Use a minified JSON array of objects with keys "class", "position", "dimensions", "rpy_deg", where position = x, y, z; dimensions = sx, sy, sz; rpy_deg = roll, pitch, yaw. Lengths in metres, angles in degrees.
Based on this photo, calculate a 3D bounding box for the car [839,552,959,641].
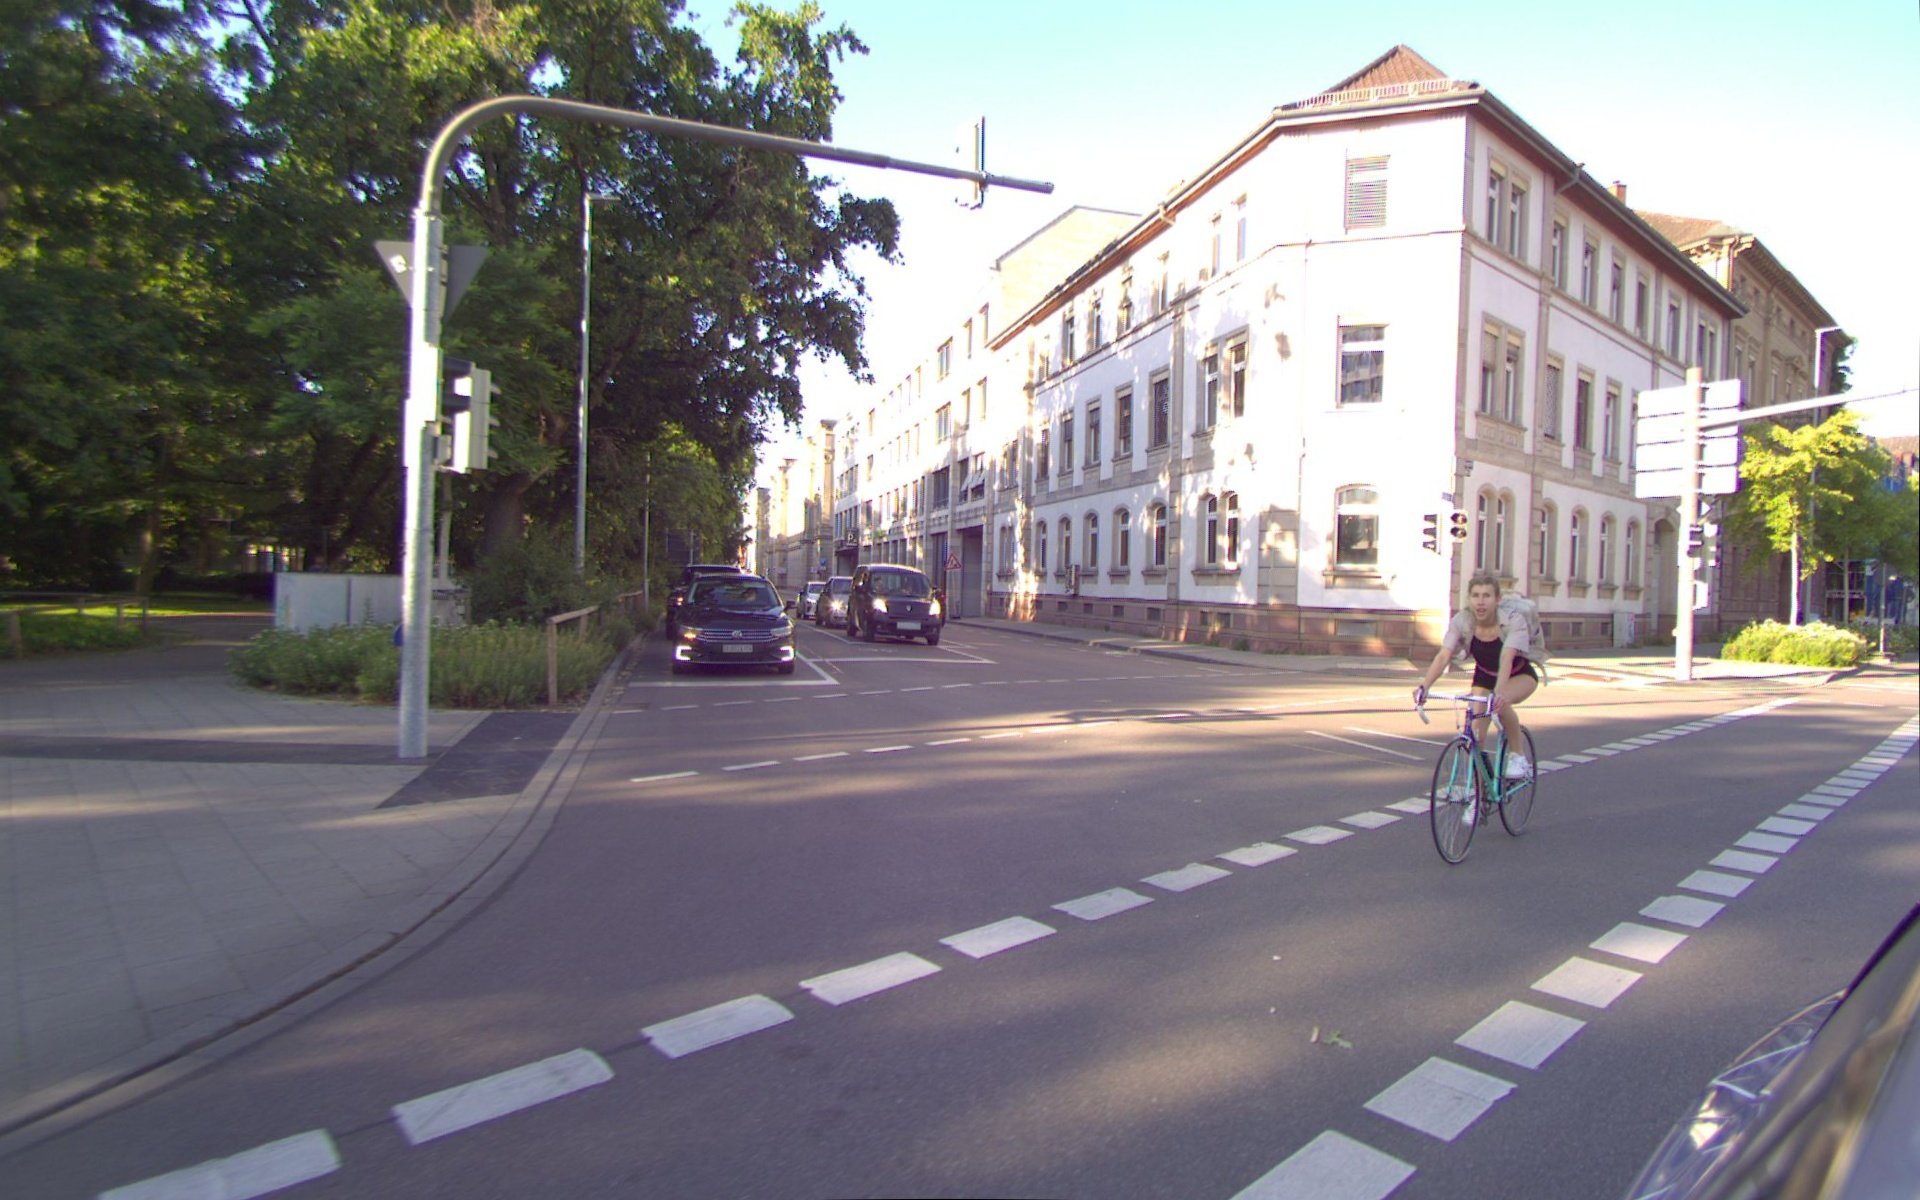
[{"class":"car","position":[-1.562,-0.118,24.019],"dimensions":[1.908,1.827,4.257],"rpy_deg":[3,1,-16]}]

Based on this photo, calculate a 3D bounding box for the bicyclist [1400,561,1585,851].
[{"class":"bicyclist","position":[3.083,0.553,5.834],"dimensions":[1.062,1.509,0.553],"rpy_deg":[1,1,-41]}]

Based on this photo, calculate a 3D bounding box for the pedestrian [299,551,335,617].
[{"class":"pedestrian","position":[-17.737,-0.454,27.932],"dimensions":[0.769,1.750,0.808],"rpy_deg":[2,2,-29]}]

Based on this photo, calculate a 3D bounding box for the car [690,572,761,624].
[{"class":"car","position":[-7.086,-0.103,30.288],"dimensions":[1.863,1.399,4.245],"rpy_deg":[1,2,-15]}]

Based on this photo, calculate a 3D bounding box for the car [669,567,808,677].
[{"class":"car","position":[-3.667,0.231,16.208],"dimensions":[1.863,1.492,4.613],"rpy_deg":[1,2,-15]}]

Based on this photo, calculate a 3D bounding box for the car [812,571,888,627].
[{"class":"car","position":[-3.412,-0.068,30.933],"dimensions":[1.702,1.530,3.537],"rpy_deg":[3,1,-16]}]

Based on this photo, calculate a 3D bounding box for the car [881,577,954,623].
[{"class":"car","position":[-1.678,-0.033,38.523],"dimensions":[1.863,1.546,4.067],"rpy_deg":[3,0,-15]}]

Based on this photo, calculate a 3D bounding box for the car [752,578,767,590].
[{"class":"car","position":[-26.028,-2.109,131.086],"dimensions":[1.597,1.432,3.658],"rpy_deg":[3,1,-16]}]

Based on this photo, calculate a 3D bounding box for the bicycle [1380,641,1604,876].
[{"class":"bicycle","position":[3.168,0.840,5.946],"dimensions":[1.810,1.111,0.521],"rpy_deg":[0,1,-41]}]

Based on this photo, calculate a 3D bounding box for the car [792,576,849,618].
[{"class":"car","position":[-5.318,-0.133,38.391],"dimensions":[1.597,1.432,3.658],"rpy_deg":[3,1,-16]}]

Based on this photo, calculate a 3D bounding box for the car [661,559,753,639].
[{"class":"car","position":[-5.784,-0.083,23.548],"dimensions":[1.863,1.673,4.547],"rpy_deg":[1,2,-12]}]
